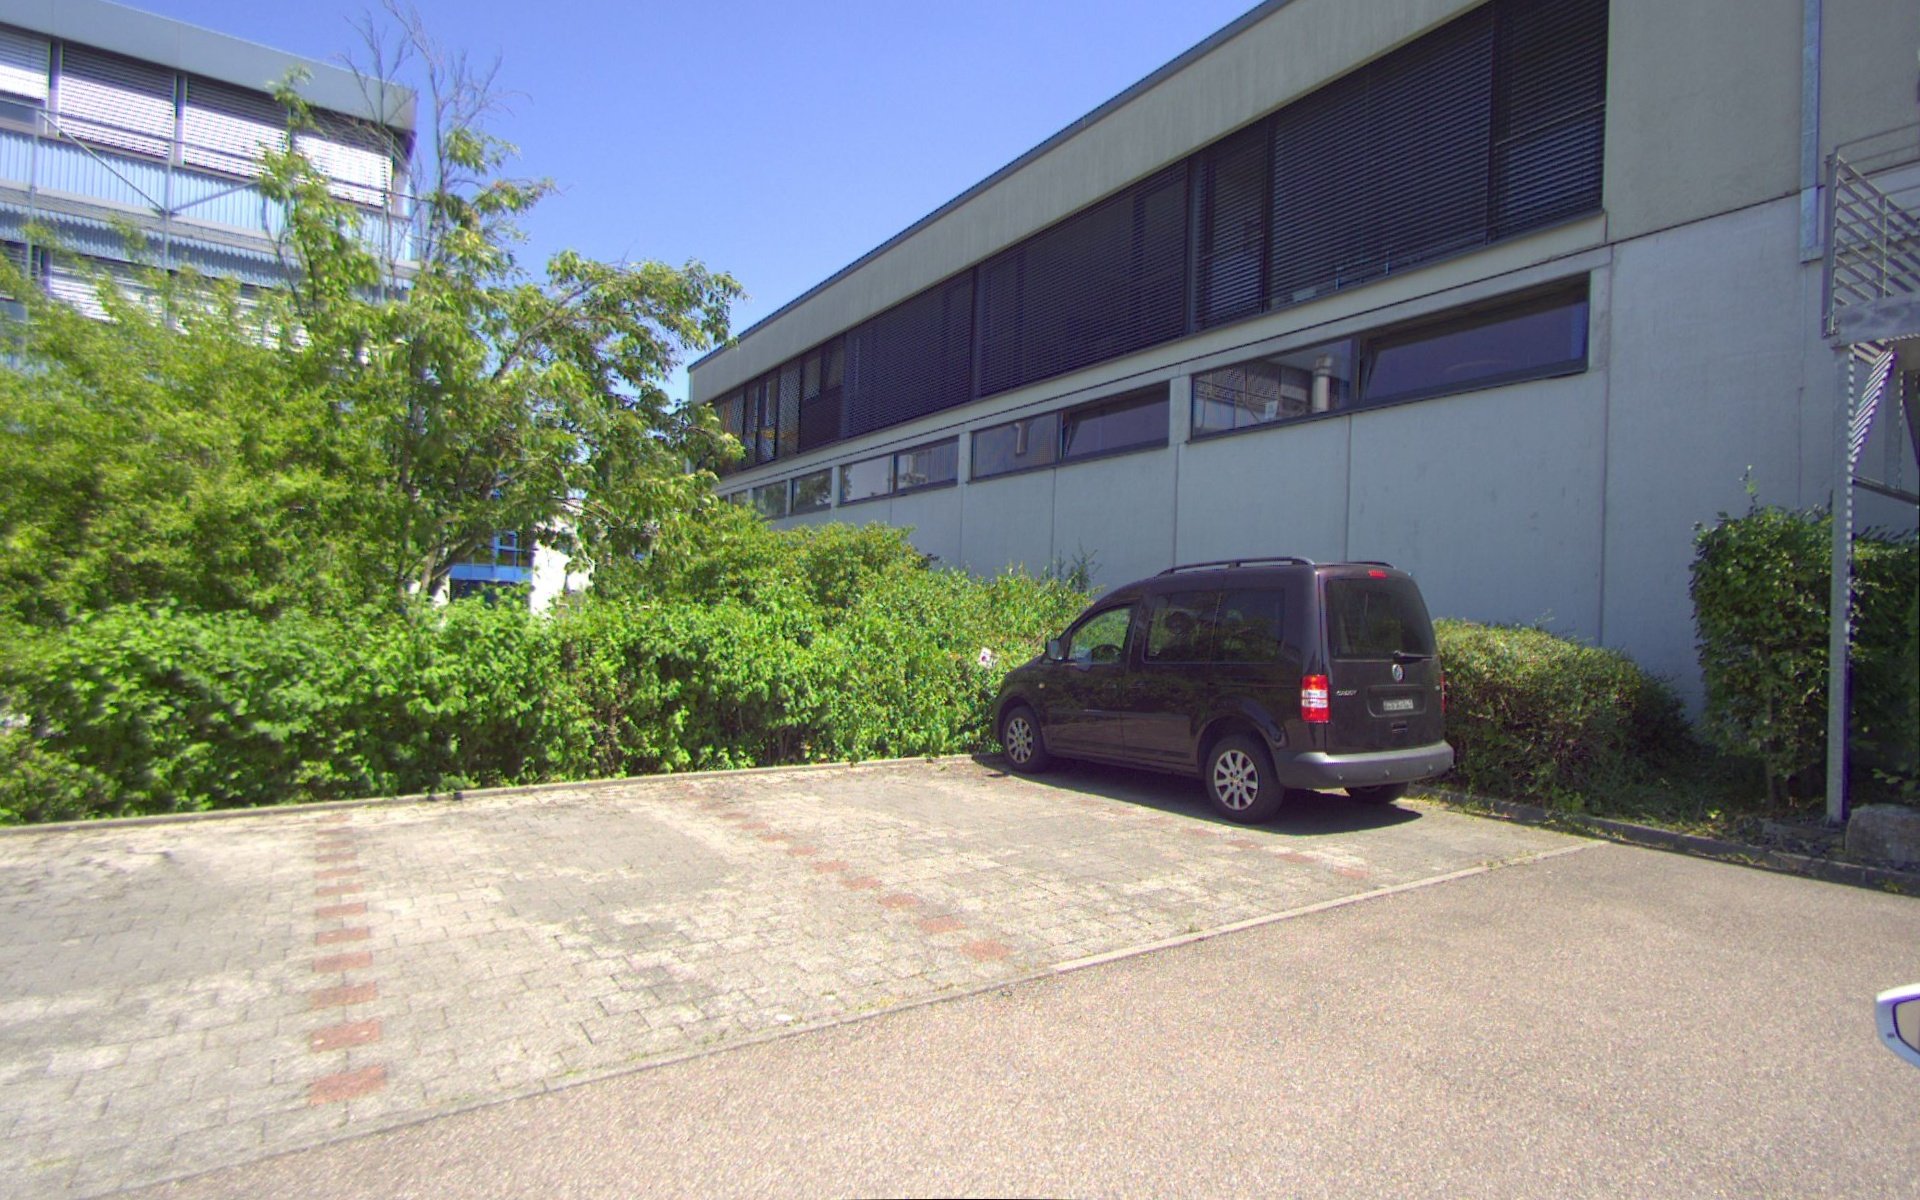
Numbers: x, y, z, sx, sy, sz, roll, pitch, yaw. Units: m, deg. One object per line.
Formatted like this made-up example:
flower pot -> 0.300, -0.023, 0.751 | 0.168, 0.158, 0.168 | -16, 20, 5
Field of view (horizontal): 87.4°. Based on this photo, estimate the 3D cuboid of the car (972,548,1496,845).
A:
car -> 2.043, 0.639, 8.648 | 1.849, 1.885, 4.189 | 1, -1, -33
